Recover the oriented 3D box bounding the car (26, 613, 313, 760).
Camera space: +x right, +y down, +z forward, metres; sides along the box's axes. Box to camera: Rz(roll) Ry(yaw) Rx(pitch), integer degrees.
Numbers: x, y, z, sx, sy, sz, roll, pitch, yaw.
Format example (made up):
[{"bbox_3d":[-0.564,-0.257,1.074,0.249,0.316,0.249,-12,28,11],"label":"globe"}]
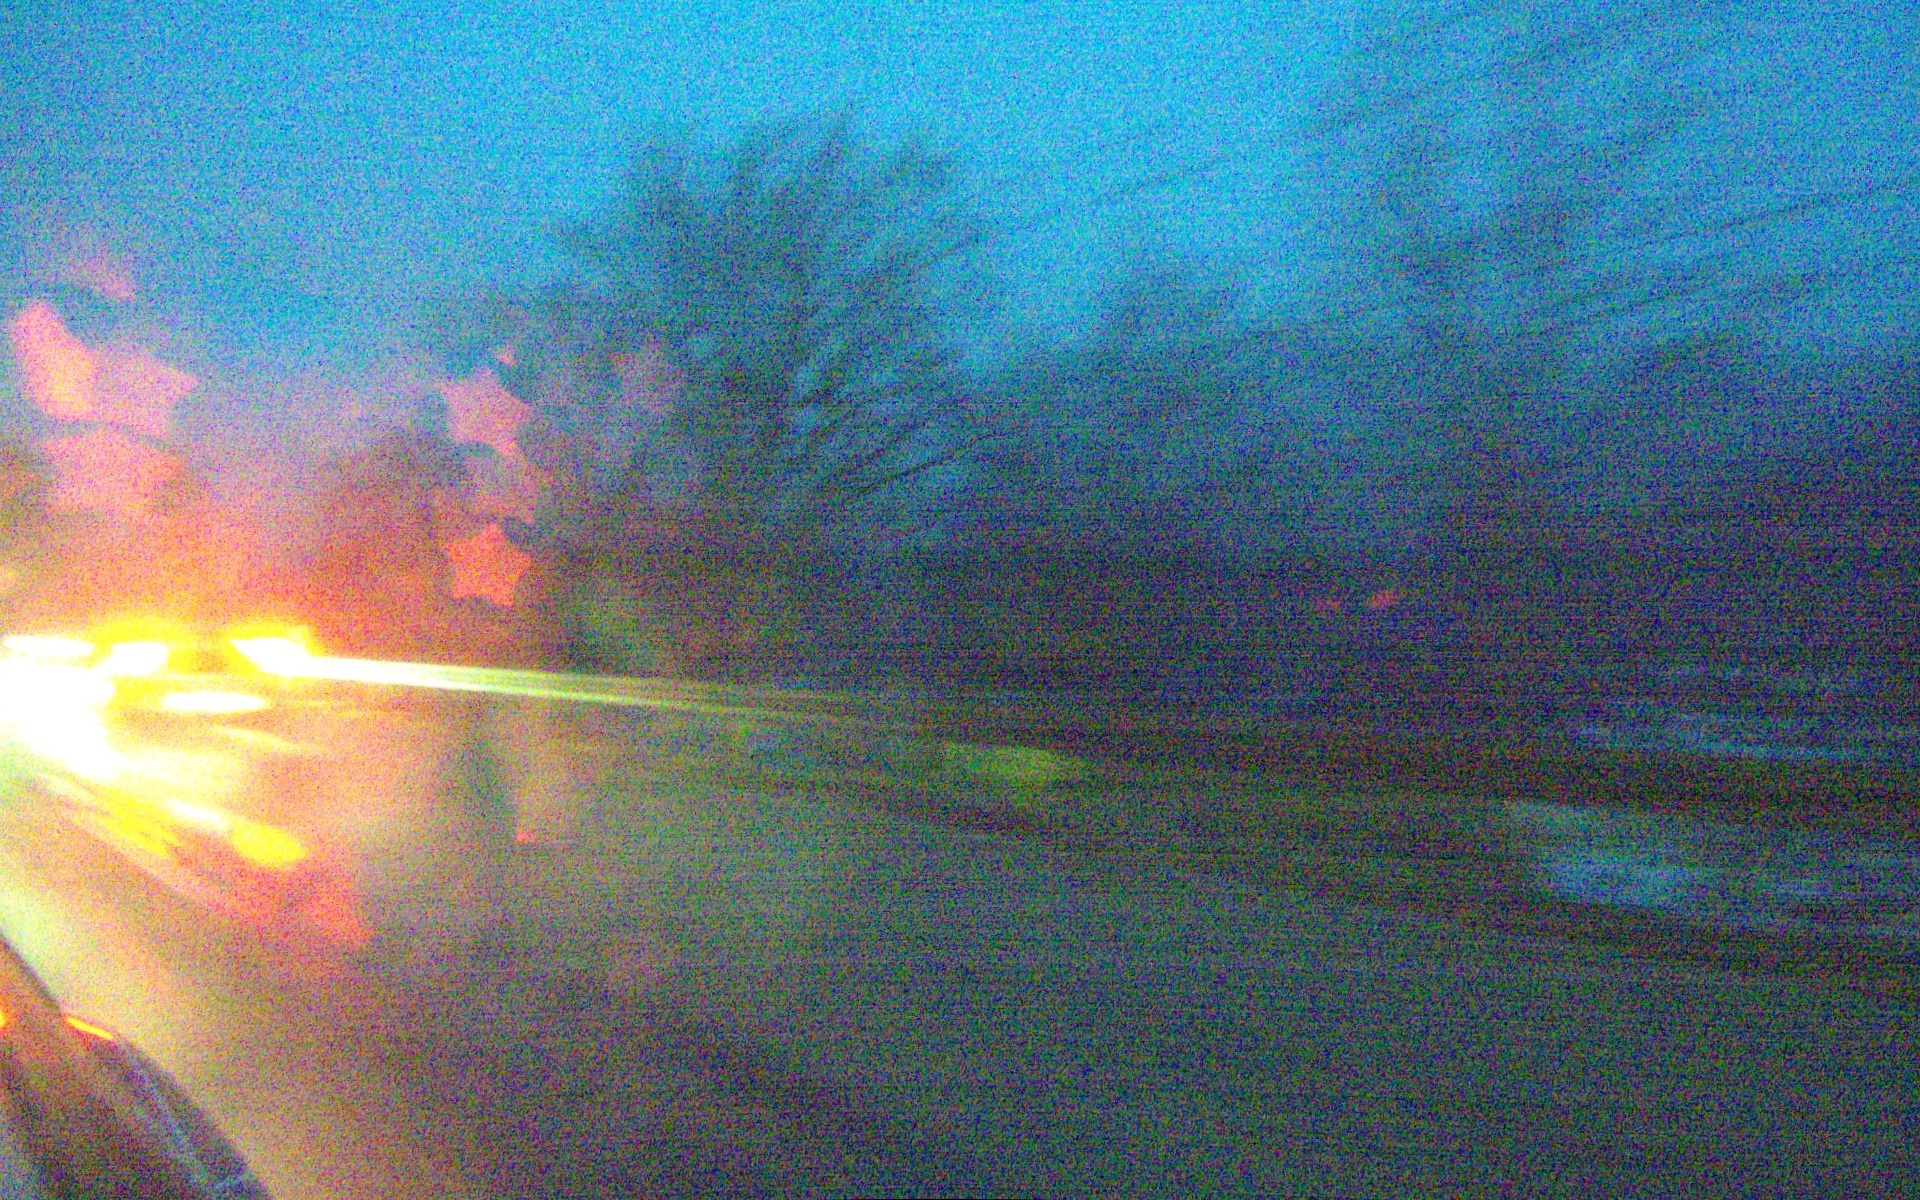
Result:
[{"bbox_3d":[-9.361,0.901,11.887,3.844,1.401,1.973,-2,-1,41],"label":"car"}]
